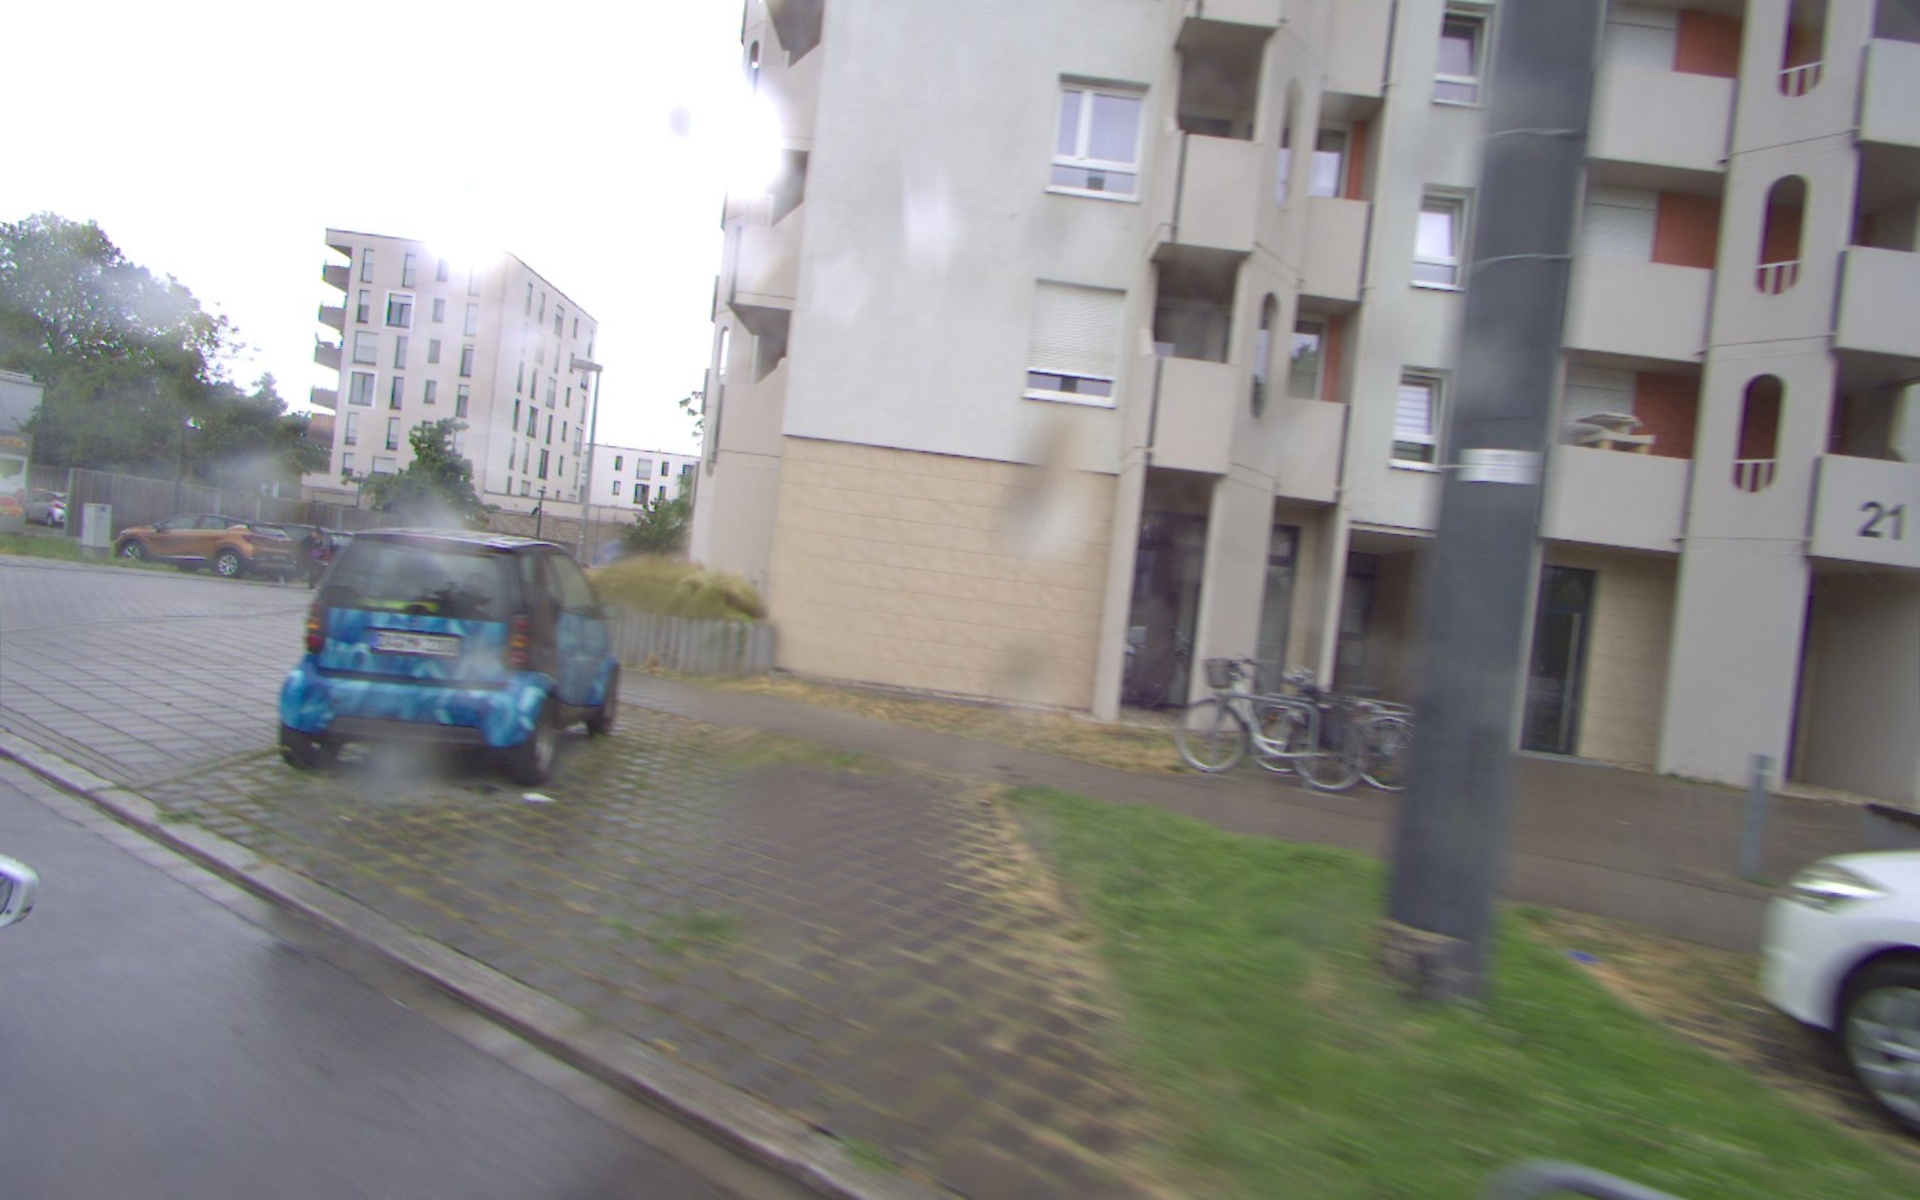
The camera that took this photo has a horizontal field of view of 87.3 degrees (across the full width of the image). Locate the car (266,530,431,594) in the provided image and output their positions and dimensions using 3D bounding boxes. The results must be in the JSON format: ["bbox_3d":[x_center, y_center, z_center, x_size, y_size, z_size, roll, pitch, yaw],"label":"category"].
[{"bbox_3d":[-19.370,-1.191,31.993,3.924,1.458,2.002,6,-1,4],"label":"car"}]

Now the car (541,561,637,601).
[{"bbox_3d":[-18.524,-0.915,50.340,3.925,1.458,2.001,6,-1,2],"label":"car"}]

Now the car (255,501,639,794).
[{"bbox_3d":[-3.396,0.288,7.173,1.575,1.567,2.561,6,0,-8],"label":"car"}]

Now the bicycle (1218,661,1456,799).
[{"bbox_3d":[3.689,1.236,9.916,2.024,1.018,0.662,6,-1,32],"label":"bicycle"}]

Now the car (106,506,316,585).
[{"bbox_3d":[-19.425,-1.378,26.207,3.924,1.458,2.002,6,-1,4],"label":"car"}]

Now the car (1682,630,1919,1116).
[{"bbox_3d":[4.324,1.114,2.344,1.735,1.569,4.175,6,2,-8],"label":"car"}]

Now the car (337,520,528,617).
[{"bbox_3d":[-11.457,-0.601,22.204,1.781,1.635,4.116,8,-2,2],"label":"car"}]

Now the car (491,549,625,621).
[{"bbox_3d":[-10.922,-0.350,27.681,1.781,1.551,4.116,8,-2,2],"label":"car"}]

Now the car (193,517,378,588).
[{"bbox_3d":[-19.408,-1.349,29.057,3.924,1.458,2.002,6,-1,4],"label":"car"}]

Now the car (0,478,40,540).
[{"bbox_3d":[-31.546,-3.106,32.213,4.819,1.805,1.965,7,0,35],"label":"car"}]

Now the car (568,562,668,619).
[{"bbox_3d":[-11.282,-0.276,33.488,1.781,1.492,3.799,8,-2,2],"label":"car"}]

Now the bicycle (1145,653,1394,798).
[{"bbox_3d":[2.845,1.121,9.340,2.024,1.018,0.662,6,-1,32],"label":"bicycle"}]

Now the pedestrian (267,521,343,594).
[{"bbox_3d":[-15.447,-0.993,23.750,1.074,1.535,0.838,6,-1,2],"label":"pedestrian"}]

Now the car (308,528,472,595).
[{"bbox_3d":[-19.387,-1.288,34.358,4.284,1.606,1.969,8,0,-2],"label":"car"}]

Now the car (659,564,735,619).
[{"bbox_3d":[-11.201,-0.324,43.169,1.958,1.940,4.279,8,-1,0],"label":"car"}]
